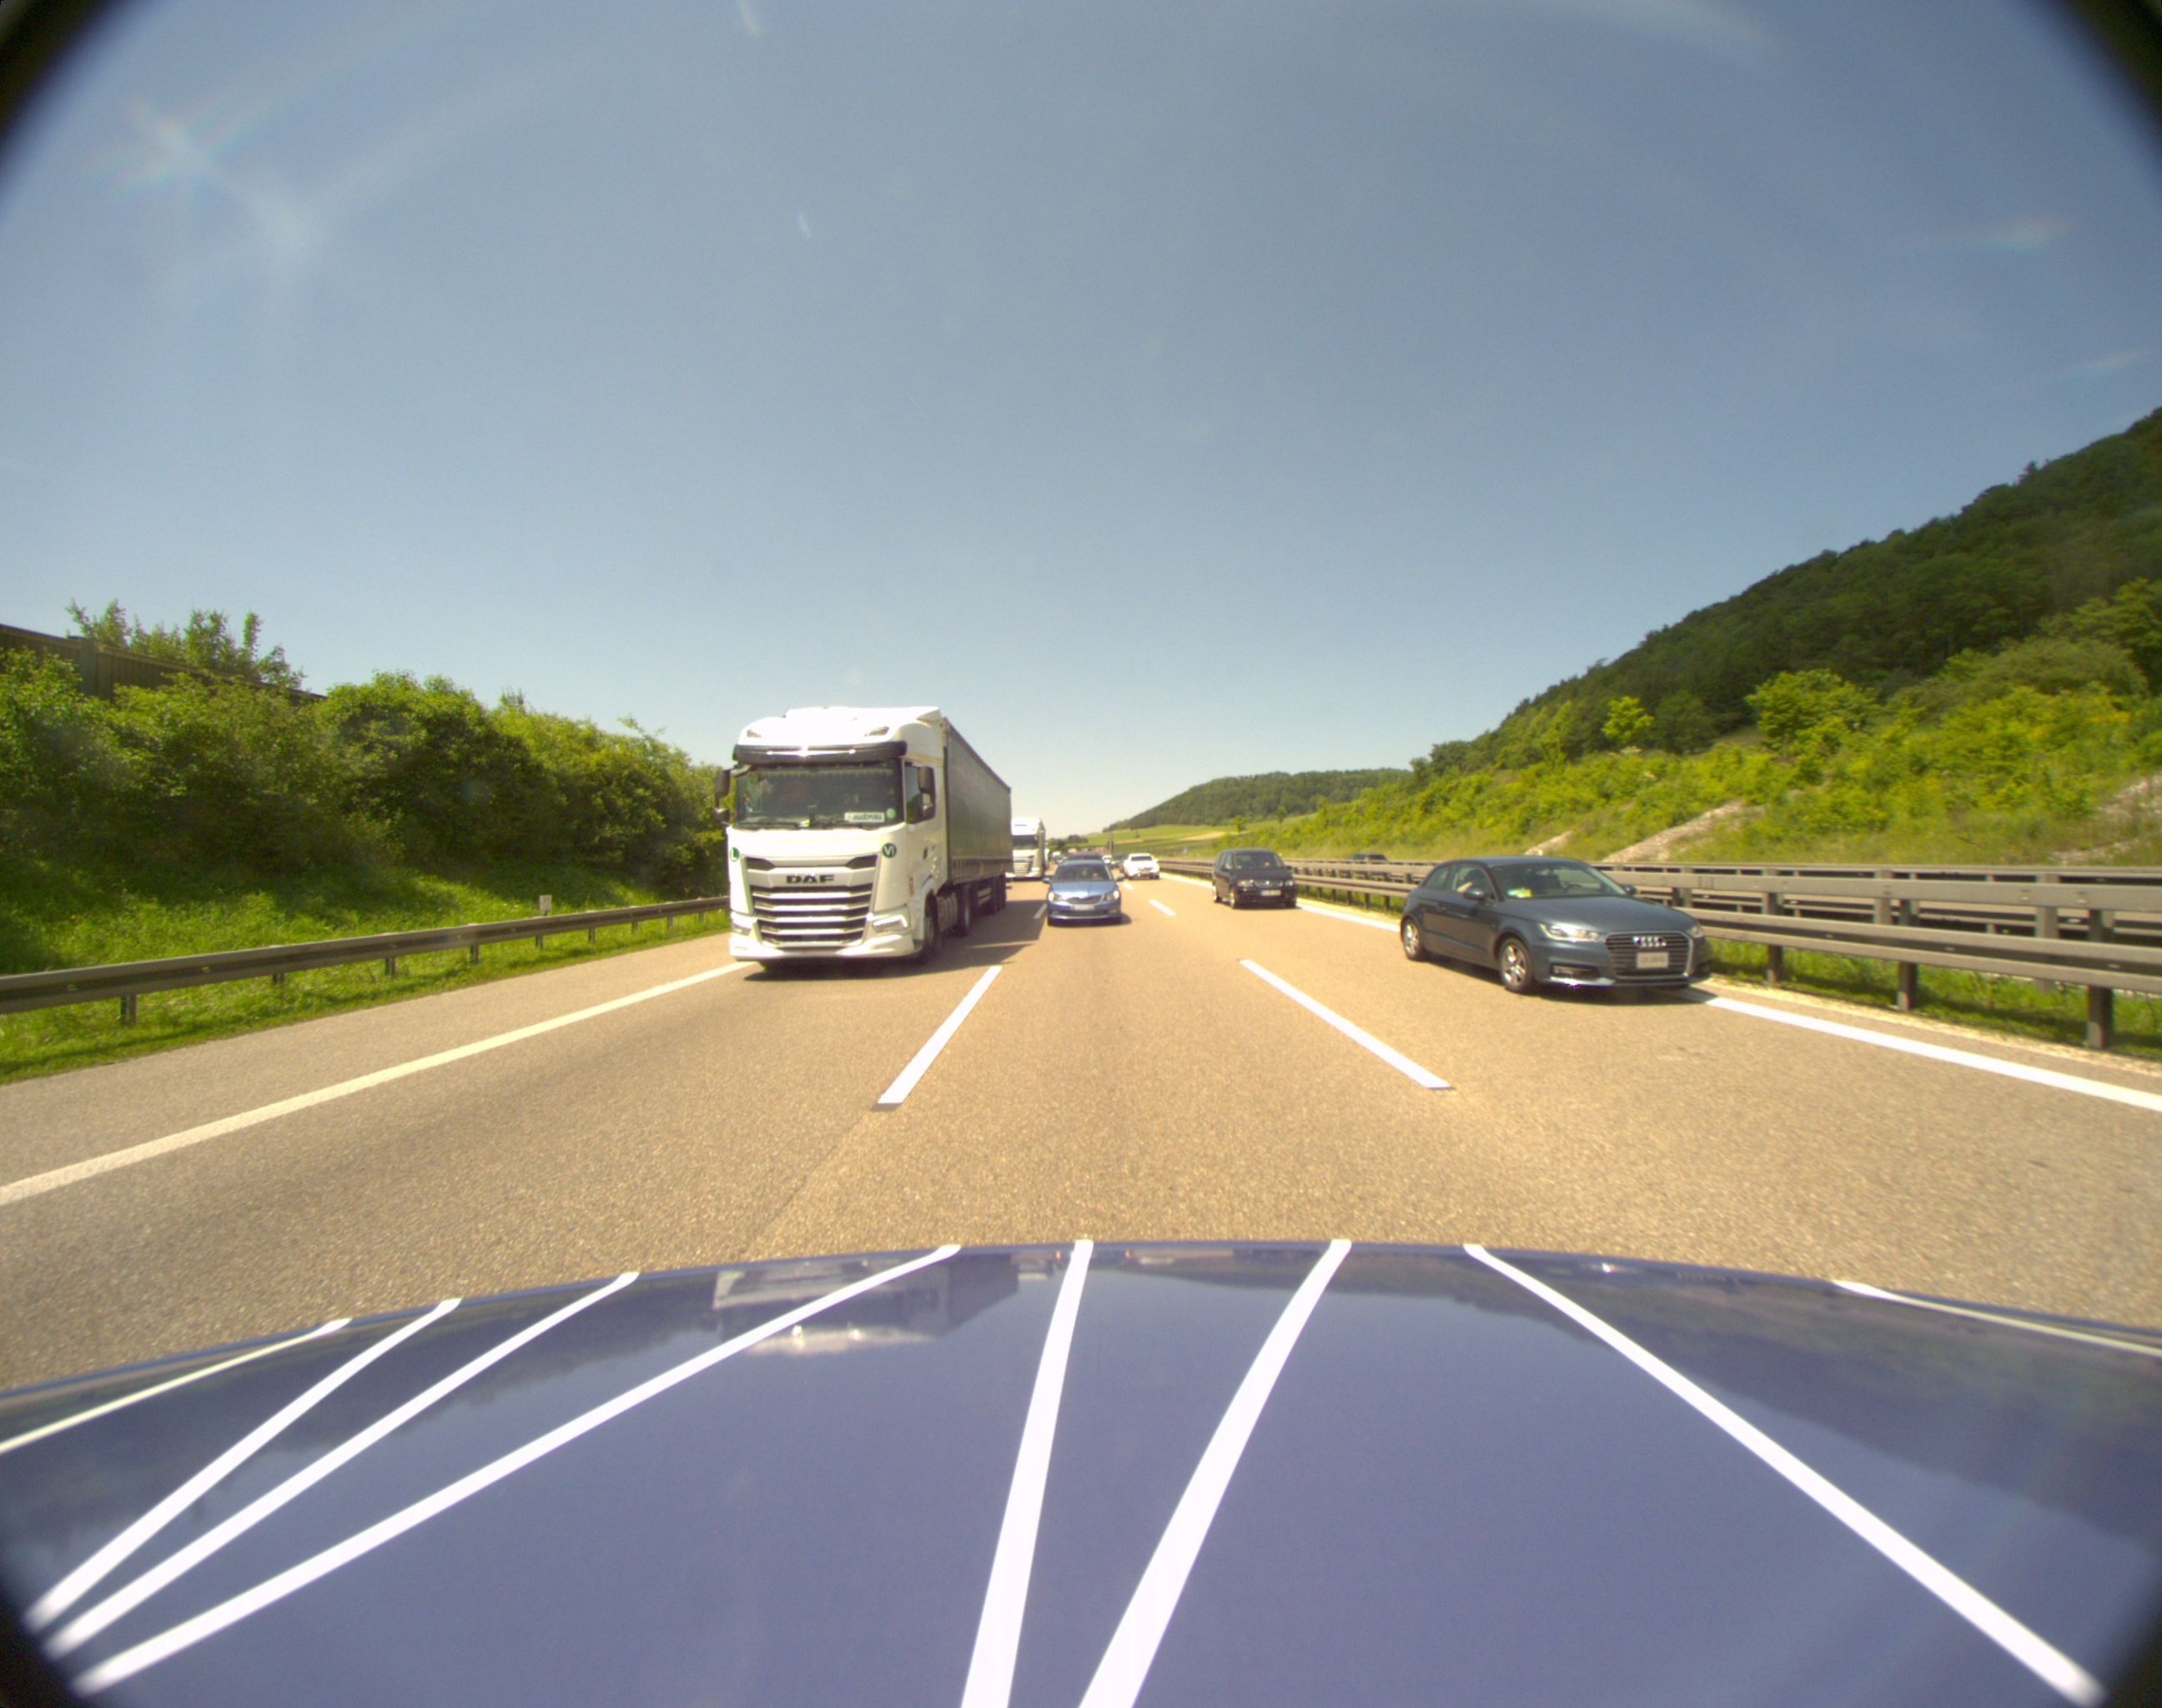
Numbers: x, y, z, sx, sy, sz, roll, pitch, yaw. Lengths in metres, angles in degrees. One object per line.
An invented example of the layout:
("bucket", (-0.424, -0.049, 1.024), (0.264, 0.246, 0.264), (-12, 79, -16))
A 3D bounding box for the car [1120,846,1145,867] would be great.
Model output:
("car", (4.299, 0.204, 63.929), (1.998, 1.692, 4.001), (-1, 0, 3))

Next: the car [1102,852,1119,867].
("car", (3.854, 0.666, 97.793), (1.998, 1.702, 4.000), (-2, 1, 3))

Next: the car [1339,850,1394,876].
("car", (16.088, 0.460, 42.994), (1.695, 1.360, 3.741), (-1, 0, 1))

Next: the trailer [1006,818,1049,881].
("trailer", (-3.805, -0.388, 56.830), (2.544, 4.085, 13.624), (-2, 1, -2))

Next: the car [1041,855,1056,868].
("car", (-4.290, 0.975, 101.087), (1.778, 1.655, 3.999), (-2, 1, 0))

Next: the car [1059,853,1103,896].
("car", (0.063, 0.817, 32.857), (1.736, 1.674, 4.198), (-1, 0, 2))

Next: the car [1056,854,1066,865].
("car", (-4.321, 1.160, 162.568), (1.998, 2.002, 3.999), (-2, 1, 0))

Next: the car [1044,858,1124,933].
("car", (0.067, 0.892, 18.379), (1.660, 1.481, 4.653), (-1, 0, 0))

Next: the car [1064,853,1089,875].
("car", (-0.422, 0.863, 65.566), (1.999, 1.702, 3.999), (-2, 1, -1))

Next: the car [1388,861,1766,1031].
("car", (5.092, 0.812, 8.556), (1.692, 1.380, 4.000), (-1, 0, 1))

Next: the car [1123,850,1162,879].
("car", (3.753, 0.617, 46.871), (1.999, 1.612, 3.999), (-2, 1, -1))

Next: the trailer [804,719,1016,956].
("trailer", (-3.468, -0.307, 19.681), (2.484, 3.954, 13.653), (-1, 0, -1))

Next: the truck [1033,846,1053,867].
("truck", (-4.538, 0.256, 90.836), (1.835, 2.267, 6.594), (-2, 1, 1))

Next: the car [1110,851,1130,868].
("car", (4.164, 0.561, 80.688), (1.998, 1.702, 4.000), (-2, 1, 3))

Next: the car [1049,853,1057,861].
("car", (-7.492, 0.814, 204.861), (1.998, 2.002, 3.999), (-2, 1, 0))

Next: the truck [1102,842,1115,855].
("truck", (8.745, -1.767, 244.530), (3.627, 4.079, 9.921), (-1, 0, 0))

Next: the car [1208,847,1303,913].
("car", (4.785, 0.655, 21.418), (1.805, 1.625, 4.446), (-1, 0, 2))

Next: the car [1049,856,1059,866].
("car", (-5.611, 1.393, 159.025), (1.998, 2.002, 3.999), (-2, 1, 0))

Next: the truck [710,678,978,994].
("truck", (-3.438, -0.238, 12.842), (2.484, 3.954, 6.380), (-1, 0, -1))

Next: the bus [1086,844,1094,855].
("bus", (2.963, -1.483, 258.712), (2.686, 3.640, 14.815), (-1, 0, 0))

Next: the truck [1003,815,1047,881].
("truck", (-3.661, -0.411, 50.769), (2.531, 4.065, 6.078), (-2, 1, -2))

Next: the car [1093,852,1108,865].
("car", (2.826, 0.694, 109.139), (1.998, 1.702, 4.000), (-2, 1, 3))
